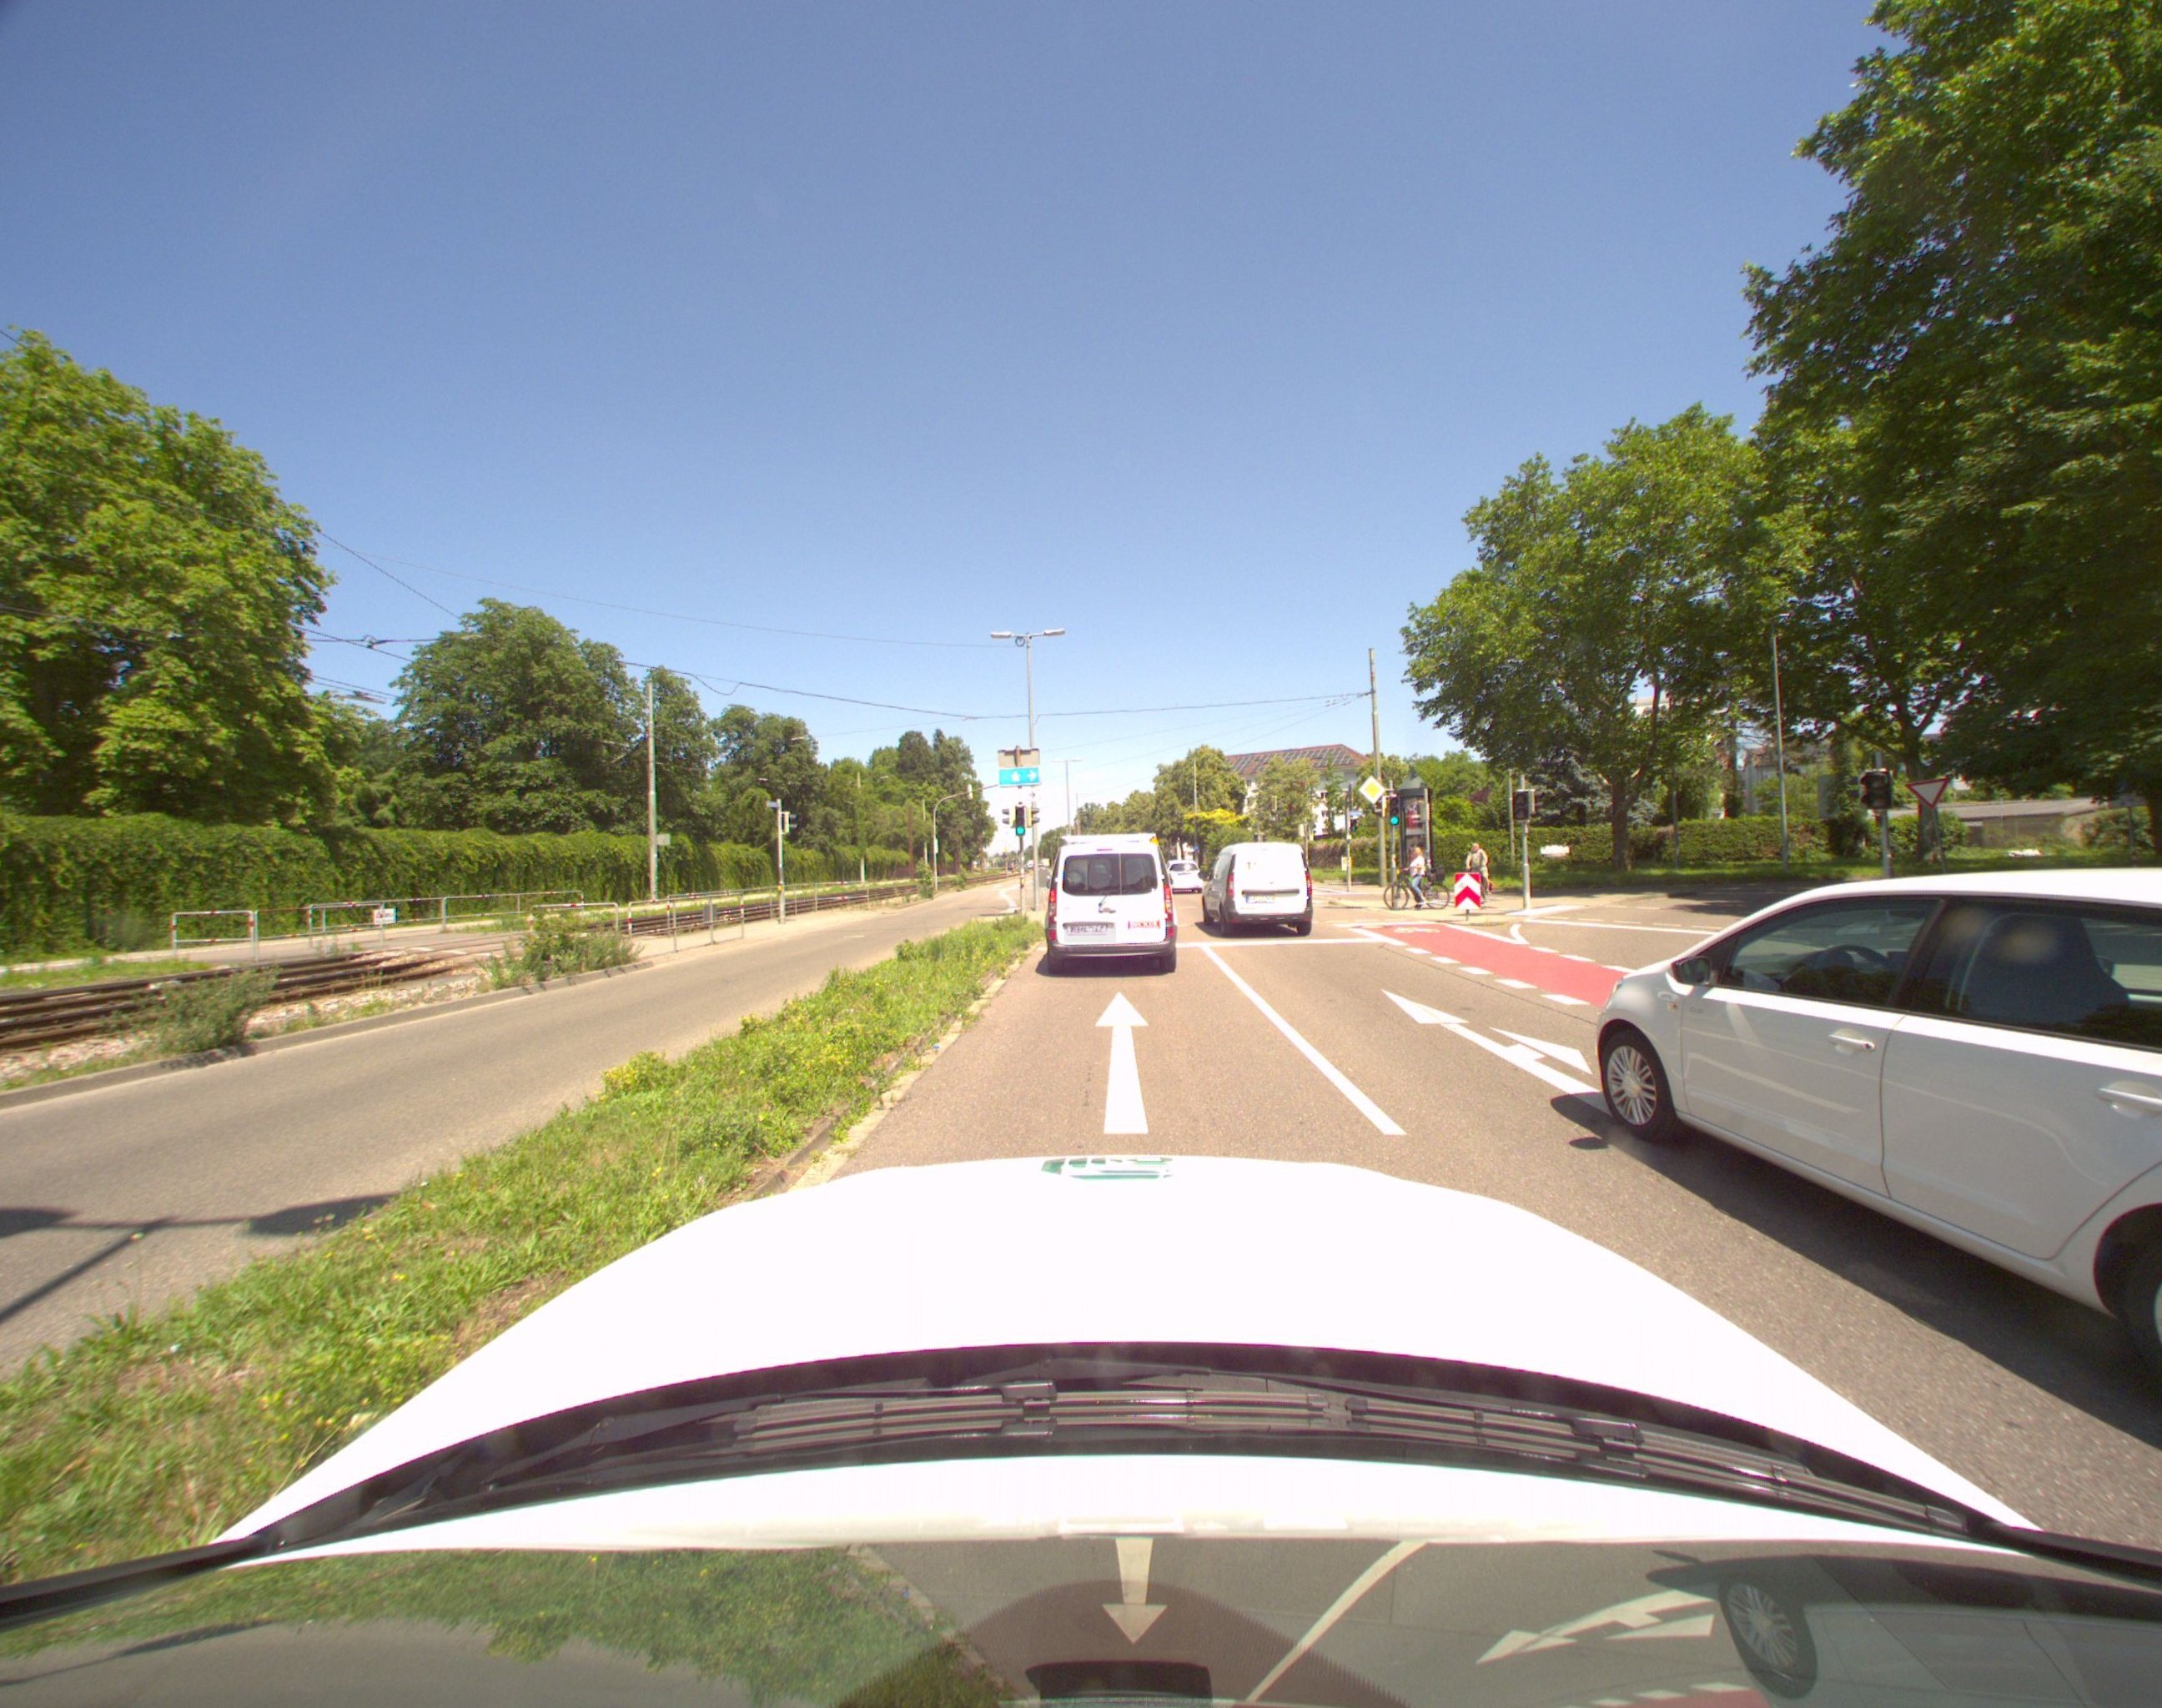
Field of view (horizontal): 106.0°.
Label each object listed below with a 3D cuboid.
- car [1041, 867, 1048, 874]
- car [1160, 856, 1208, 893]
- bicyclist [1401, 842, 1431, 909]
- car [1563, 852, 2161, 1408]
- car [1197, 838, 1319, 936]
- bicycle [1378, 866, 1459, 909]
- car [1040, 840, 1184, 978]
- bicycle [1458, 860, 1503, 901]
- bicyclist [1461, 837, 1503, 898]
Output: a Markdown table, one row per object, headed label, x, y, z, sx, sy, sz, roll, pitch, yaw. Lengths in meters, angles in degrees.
| label | x | y | z | sx | sy | sz | roll | pitch | yaw |
| --- | --- | --- | --- | --- | --- | --- | --- | --- | --- |
| car | -8.901 | 3.931 | 197.122 | 1.694 | 1.513 | 4.060 | -2 | 0 | -4 |
| car | 4.682 | 0.893 | 37.468 | 1.828 | 1.568 | 4.001 | 0 | 0 | 2 |
| bicyclist | 9.130 | 0.578 | 22.214 | 0.573 | 1.788 | 0.770 | 0 | -1 | 9 |
| car | 3.671 | 0.722 | 3.223 | 1.603 | 1.447 | 3.437 | 0 | 0 | 2 |
| car | 3.542 | 0.637 | 17.020 | 1.722 | 1.788 | 4.064 | 0 | -1 | 1 |
| bicycle | 9.127 | 0.901 | 22.112 | 1.855 | 1.125 | 0.897 | -1 | -1 | 9 |
| car | 0.459 | 0.719 | 12.594 | 1.814 | 1.740 | 4.397 | -1 | 0 | 2 |
| bicycle | 11.974 | 0.786 | 24.389 | 0.883 | 1.159 | 1.968 | -2 | -1 | 34 |
| bicyclist | 11.998 | 0.416 | 24.376 | 0.964 | 1.788 | 0.731 | -2 | -1 | 34 |
